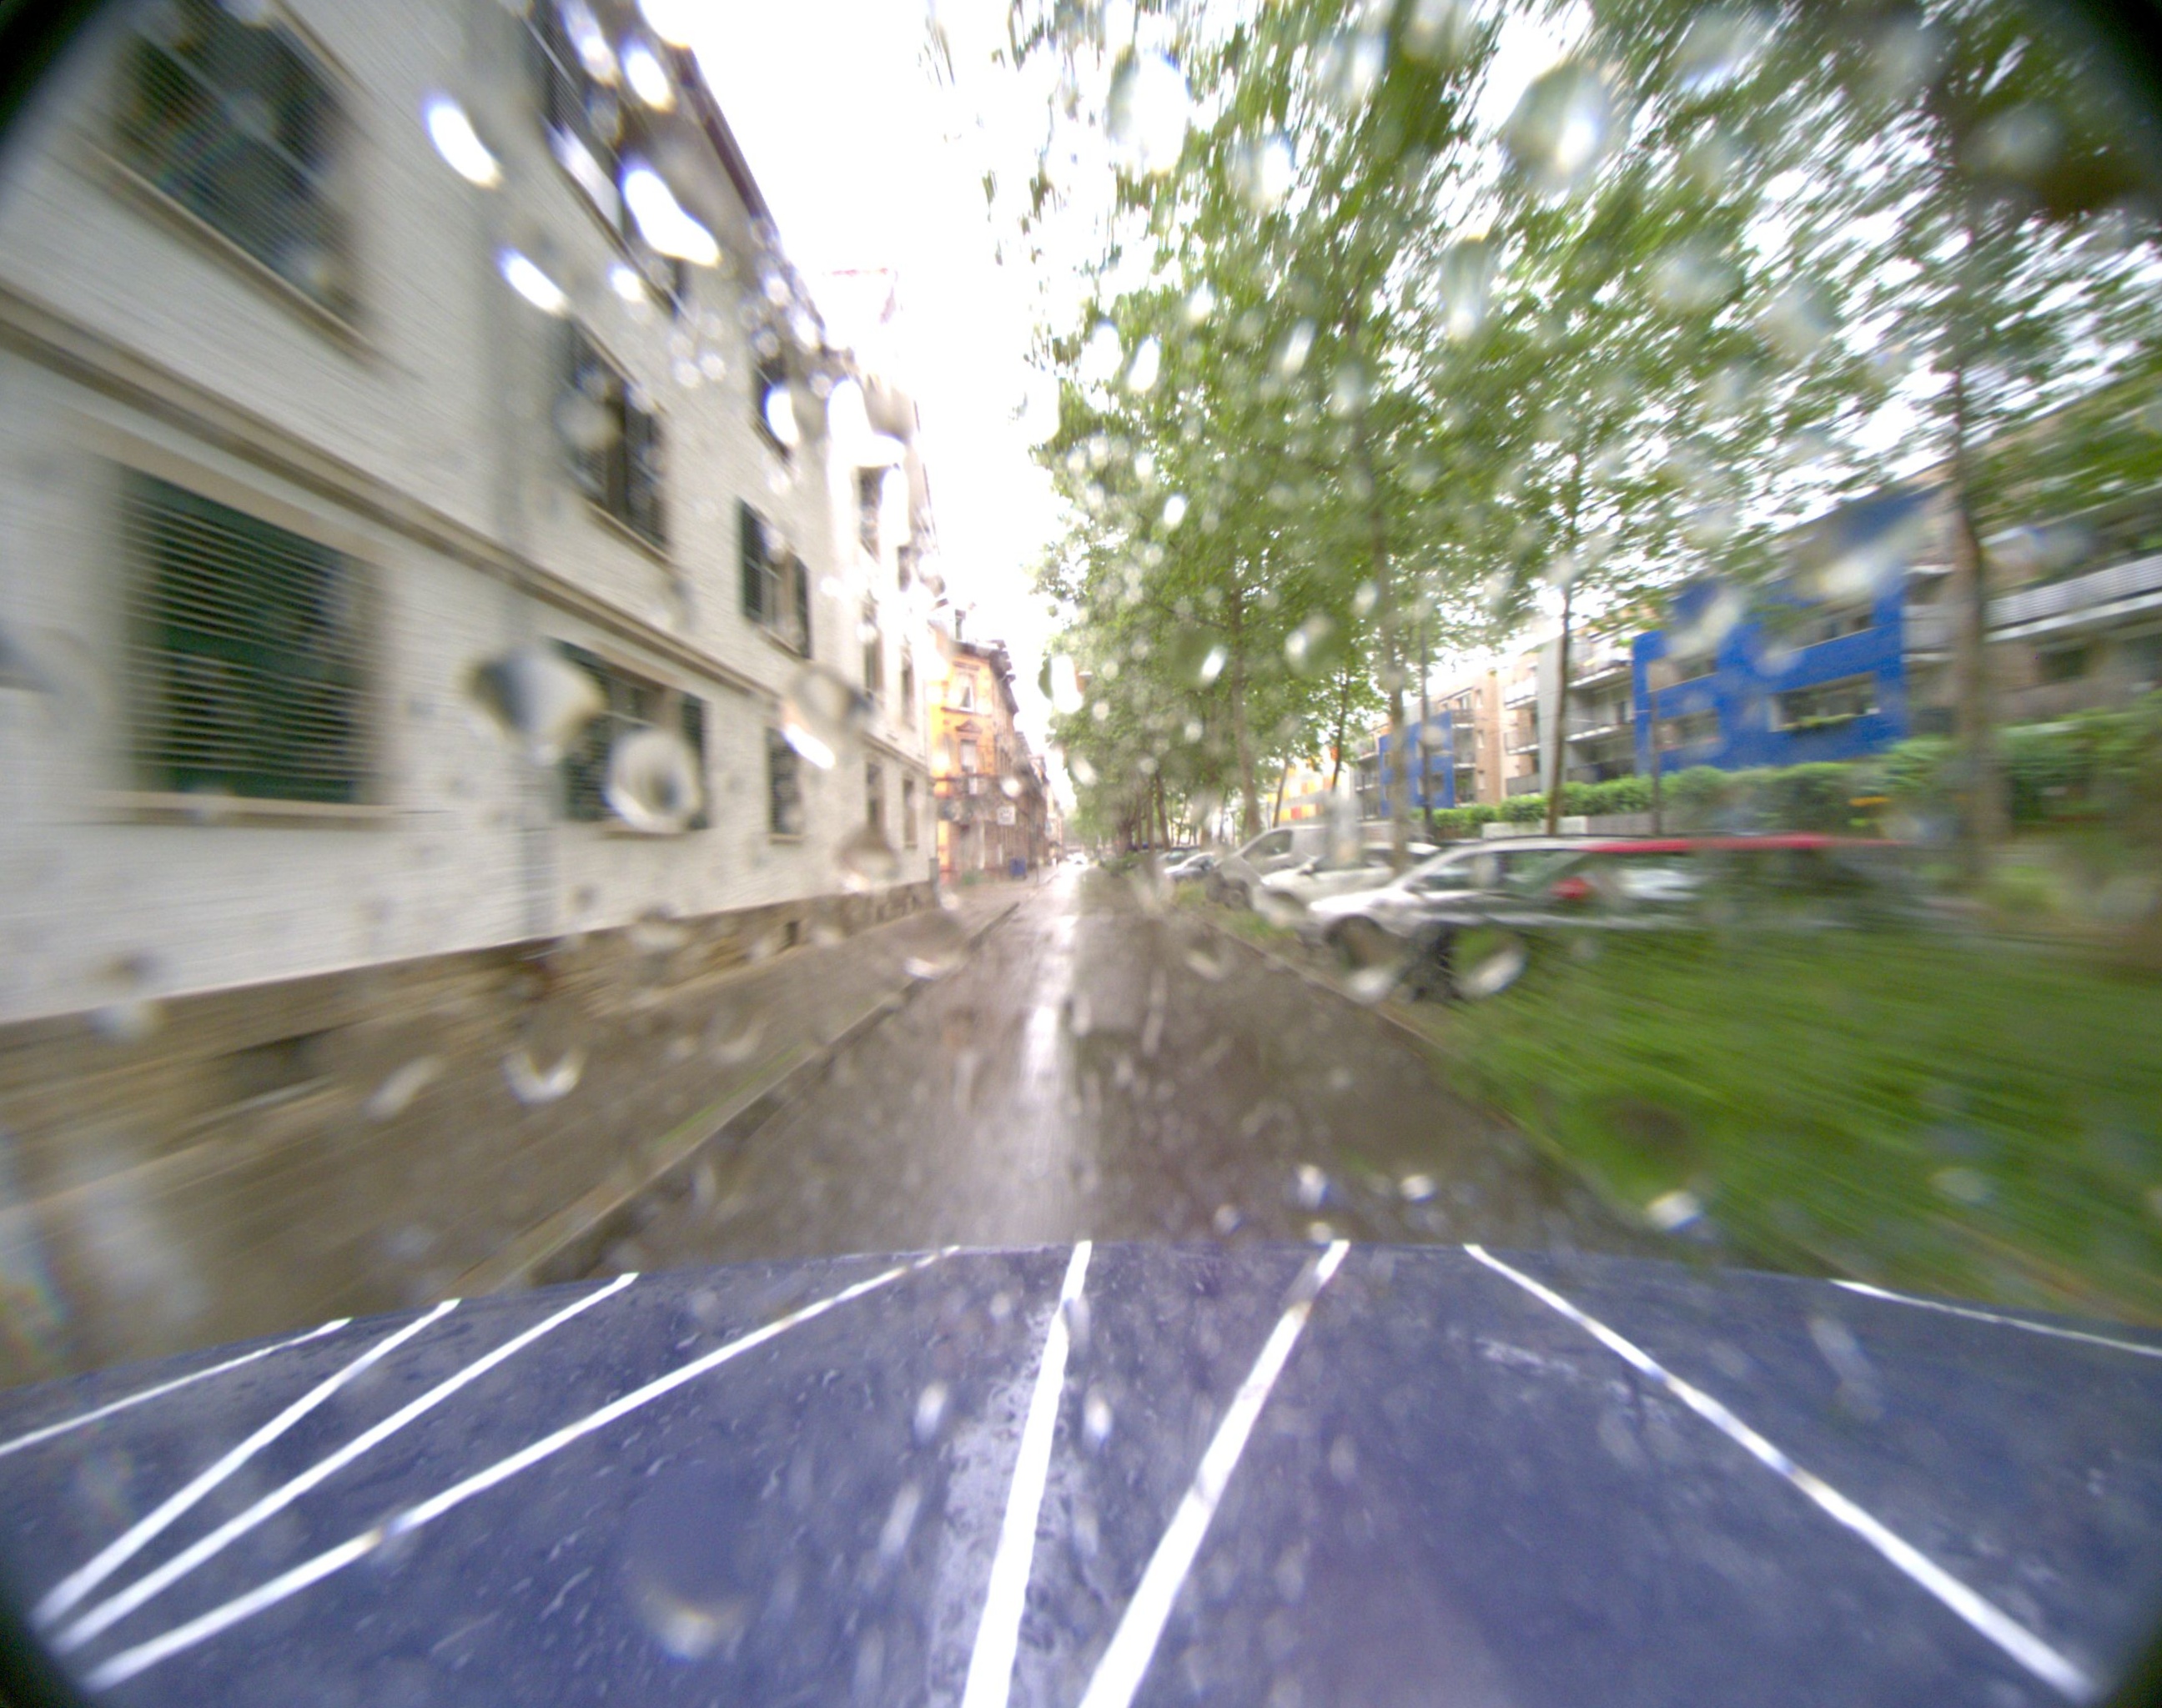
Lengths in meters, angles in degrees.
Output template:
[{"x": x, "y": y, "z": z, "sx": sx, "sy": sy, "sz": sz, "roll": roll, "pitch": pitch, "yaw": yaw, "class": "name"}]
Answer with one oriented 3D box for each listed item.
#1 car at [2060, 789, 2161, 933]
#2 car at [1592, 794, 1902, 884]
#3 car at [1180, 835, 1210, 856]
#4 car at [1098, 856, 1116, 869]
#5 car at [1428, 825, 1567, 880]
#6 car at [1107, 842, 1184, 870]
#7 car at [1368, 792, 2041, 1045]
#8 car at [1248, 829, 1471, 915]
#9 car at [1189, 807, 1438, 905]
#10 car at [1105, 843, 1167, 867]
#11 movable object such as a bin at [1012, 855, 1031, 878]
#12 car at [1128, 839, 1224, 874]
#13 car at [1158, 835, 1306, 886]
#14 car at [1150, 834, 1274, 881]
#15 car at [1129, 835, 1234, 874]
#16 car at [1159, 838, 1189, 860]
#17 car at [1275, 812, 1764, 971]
[{"x": 12.244, "y": 0.047, "z": 6.733, "sx": 1.998, "sy": 1.499, "sz": 4.000, "roll": -2, "pitch": 0, "yaw": 0, "class": "car"}, {"x": 12.184, "y": -0.207, "z": 14.386, "sx": 1.999, "sy": 1.411, "sz": 4.271, "roll": -1, "pitch": -1, "yaw": -3, "class": "car"}, {"x": 12.234, "y": -0.867, "z": 81.805, "sx": 2.059, "sy": 1.985, "sz": 5.433, "roll": -4, "pitch": 0, "yaw": -4, "class": "car"}, {"x": 3.157, "y": 1.038, "z": 92.396, "sx": 1.901, "sy": 1.476, "sz": 4.621, "roll": -3, "pitch": 0, "yaw": 0, "class": "car"}, {"x": 12.323, "y": -0.043, "z": 22.818, "sx": 1.998, "sy": 1.412, "sz": 3.993, "roll": -3, "pitch": 0, "yaw": 1, "class": "car"}, {"x": 3.864, "y": 0.103, "z": 45.525, "sx": 4.220, "sy": 1.470, "sz": 1.747, "roll": -3, "pitch": -1, "yaw": 27, "class": "car"}, {"x": 4.540, "y": 0.399, "z": 6.251, "sx": 3.807, "sy": 1.512, "sz": 1.726, "roll": -1, "pitch": 0, "yaw": 31, "class": "car"}, {"x": 5.345, "y": 0.322, "z": 14.685, "sx": 3.776, "sy": 1.473, "sz": 1.726, "roll": -1, "pitch": 0, "yaw": 31, "class": "car"}, {"x": 5.277, "y": 0.064, "z": 17.467, "sx": 5.118, "sy": 1.966, "sz": 2.107, "roll": -1, "pitch": 0, "yaw": 31, "class": "car"}, {"x": 3.985, "y": 0.066, "z": 55.061, "sx": 4.056, "sy": 1.528, "sz": 1.838, "roll": -3, "pitch": -1, "yaw": 25, "class": "car"}, {"x": -3.569, "y": 0.753, "z": 45.681, "sx": 1.024, "sy": 1.294, "sz": 1.367, "roll": 2, "pitch": -1, "yaw": 0, "class": "movable object such as a bin"}, {"x": 4.752, "y": 0.107, "z": 38.286, "sx": 4.405, "sy": 1.636, "sz": 1.875, "roll": 0, "pitch": 1, "yaw": 31, "class": "car"}, {"x": 4.840, "y": 0.227, "z": 24.488, "sx": 4.305, "sy": 1.428, "sz": 1.750, "roll": -3, "pitch": -1, "yaw": 27, "class": "car"}, {"x": 4.748, "y": 0.135, "z": 27.532, "sx": 4.060, "sy": 1.490, "sz": 1.750, "roll": -3, "pitch": -1, "yaw": 24, "class": "car"}, {"x": 4.658, "y": 0.041, "z": 35.420, "sx": 4.407, "sy": 1.650, "sz": 1.933, "roll": -1, "pitch": 0, "yaw": 28, "class": "car"}, {"x": 9.193, "y": -0.481, "z": 75.806, "sx": 2.043, "sy": 1.988, "sz": 5.158, "roll": -2, "pitch": 0, "yaw": -3, "class": "car"}, {"x": 4.803, "y": 0.369, "z": 8.948, "sx": 4.548, "sy": 1.473, "sz": 1.778, "roll": -1, "pitch": 0, "yaw": 30, "class": "car"}]
